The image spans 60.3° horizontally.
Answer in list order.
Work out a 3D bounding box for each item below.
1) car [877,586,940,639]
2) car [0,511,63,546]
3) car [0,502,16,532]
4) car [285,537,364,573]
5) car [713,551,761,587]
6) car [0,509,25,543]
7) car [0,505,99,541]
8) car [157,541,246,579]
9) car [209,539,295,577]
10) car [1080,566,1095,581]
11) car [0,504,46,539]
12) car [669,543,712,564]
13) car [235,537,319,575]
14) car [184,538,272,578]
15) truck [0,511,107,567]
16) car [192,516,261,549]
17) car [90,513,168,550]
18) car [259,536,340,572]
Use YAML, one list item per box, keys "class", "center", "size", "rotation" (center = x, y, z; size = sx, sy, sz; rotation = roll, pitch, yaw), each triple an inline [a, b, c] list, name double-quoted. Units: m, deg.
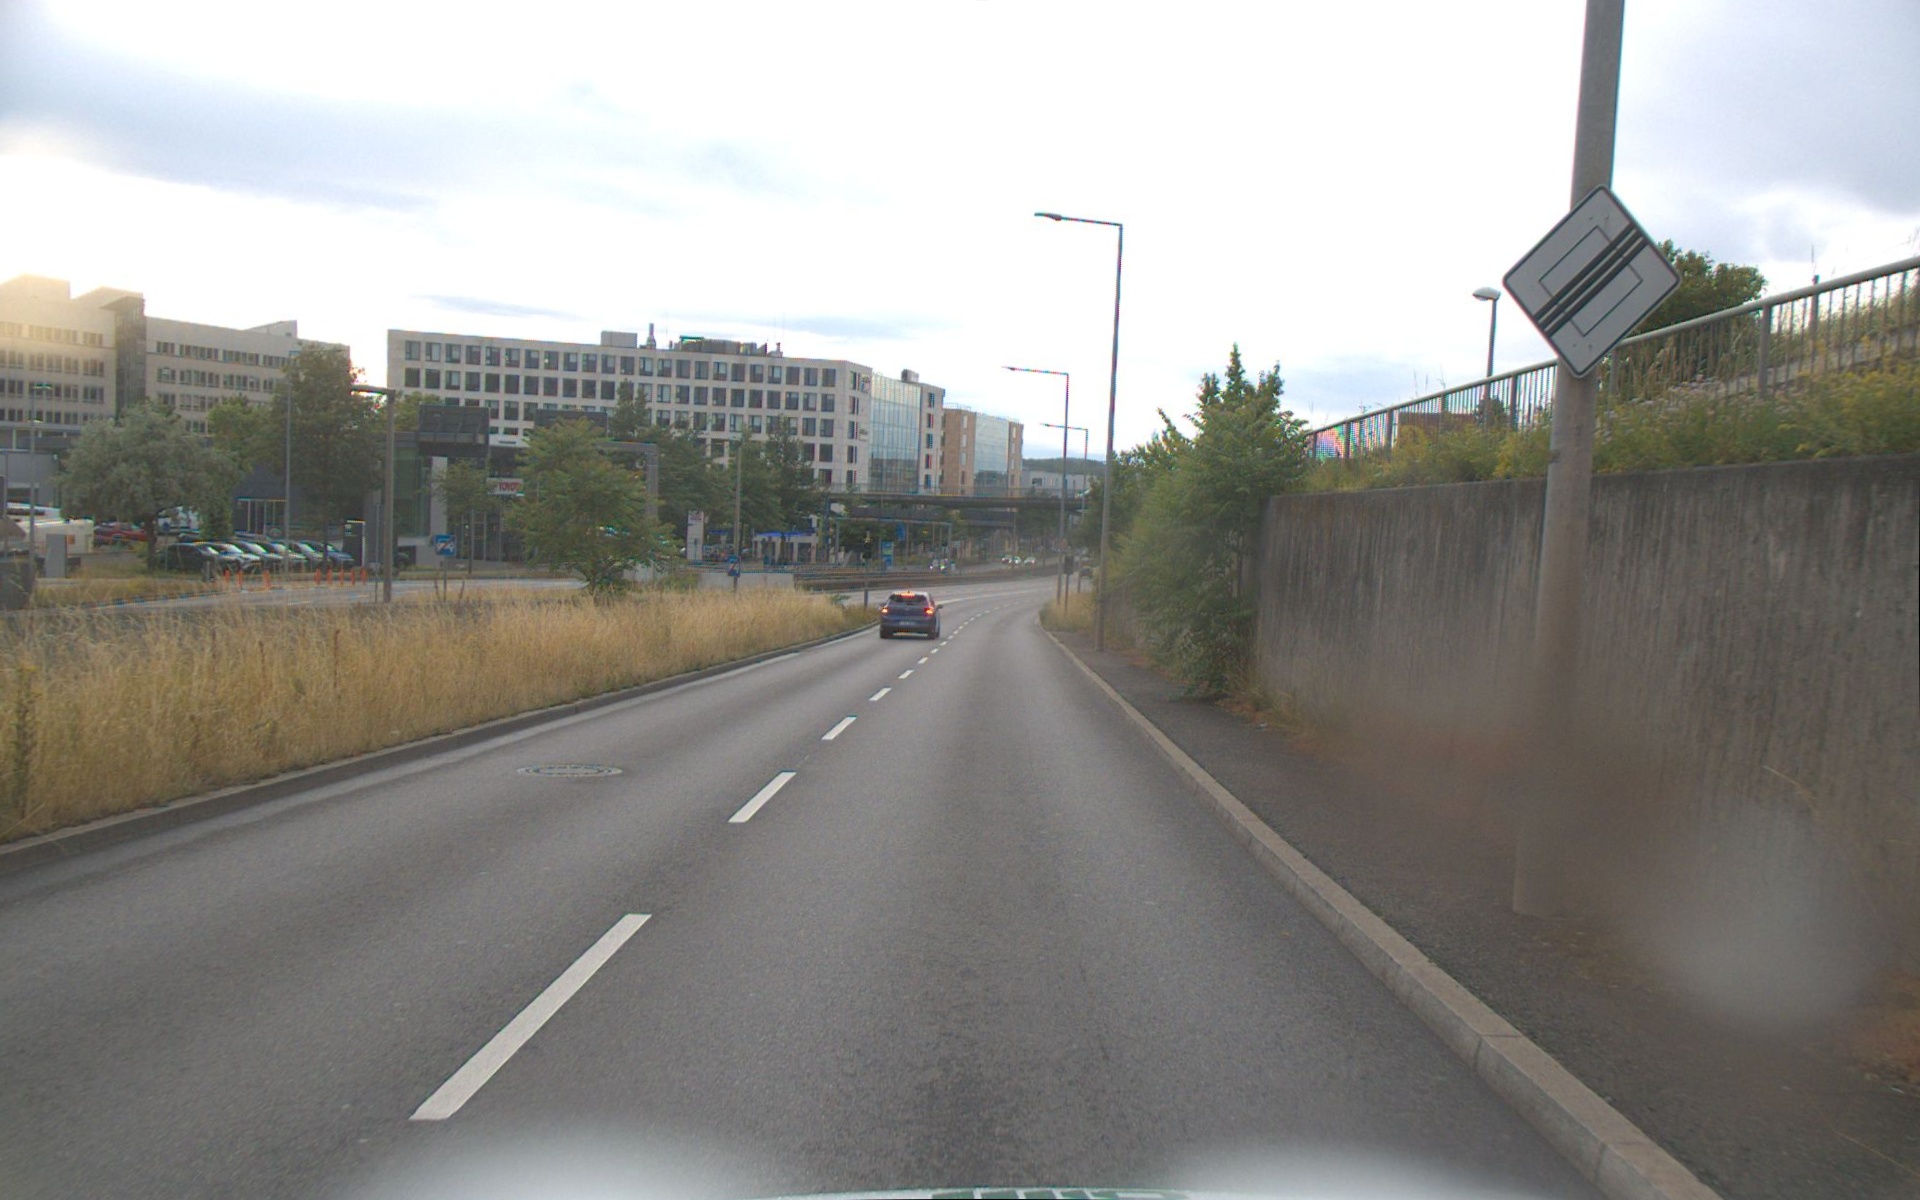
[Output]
- class: "car"
  center: [-1.566, 0.351, 51.817]
  size: [1.712, 1.444, 3.480]
  rotation: [-1, 3, 2]
- class: "car"
  center: [-51.619, -3.937, 90.877]
  size: [1.877, 1.712, 4.005]
  rotation: [6, 5, 14]
- class: "car"
  center: [-59.106, -5.026, 99.297]
  size: [1.877, 1.712, 4.005]
  rotation: [6, 5, 14]
- class: "car"
  center: [-37.971, -2.686, 98.802]
  size: [3.904, 1.712, 1.926]
  rotation: [5, 5, 10]
- class: "car"
  center: [-12.254, -1.726, 90.976]
  size: [1.652, 1.617, 3.553]
  rotation: [5, 5, 7]
- class: "car"
  center: [-54.283, -4.113, 91.810]
  size: [1.877, 1.712, 4.005]
  rotation: [6, 5, 14]
- class: "car"
  center: [-54.285, -4.574, 98.580]
  size: [1.952, 1.913, 5.541]
  rotation: [6, 3, 15]
- class: "car"
  center: [-40.003, -2.123, 87.280]
  size: [3.917, 1.627, 1.701]
  rotation: [5, 4, 10]
- class: "car"
  center: [-39.236, -2.352, 91.722]
  size: [3.904, 1.712, 1.926]
  rotation: [5, 5, 10]
- class: "car"
  center: [17.798, -3.707, 231.479]
  size: [1.824, 1.779, 4.005]
  rotation: [5, 5, 5]
- class: "car"
  center: [-56.771, -4.683, 98.313]
  size: [1.952, 1.913, 4.004]
  rotation: [6, 5, 15]
- class: "car"
  center: [-27.524, -4.759, 169.021]
  size: [3.930, 1.678, 1.989]
  rotation: [4, 3, -21]
- class: "car"
  center: [-38.850, -2.526, 94.111]
  size: [3.904, 1.712, 1.926]
  rotation: [5, 5, 10]
- class: "car"
  center: [-39.617, -2.283, 89.544]
  size: [3.904, 1.712, 1.926]
  rotation: [5, 5, 10]
- class: "truck"
  center: [-49.024, -3.295, 87.942]
  size: [2.316, 2.570, 7.421]
  rotation: [5, 5, 11]
- class: "car"
  center: [-47.862, -4.402, 108.045]
  size: [3.929, 1.812, 1.913]
  rotation: [3, 5, -21]
- class: "car"
  center: [-48.961, -4.062, 97.539]
  size: [1.862, 1.913, 4.004]
  rotation: [6, 5, 15]
- class: "car"
  center: [-38.530, -2.696, 96.512]
  size: [3.904, 1.712, 1.926]
  rotation: [5, 5, 10]
